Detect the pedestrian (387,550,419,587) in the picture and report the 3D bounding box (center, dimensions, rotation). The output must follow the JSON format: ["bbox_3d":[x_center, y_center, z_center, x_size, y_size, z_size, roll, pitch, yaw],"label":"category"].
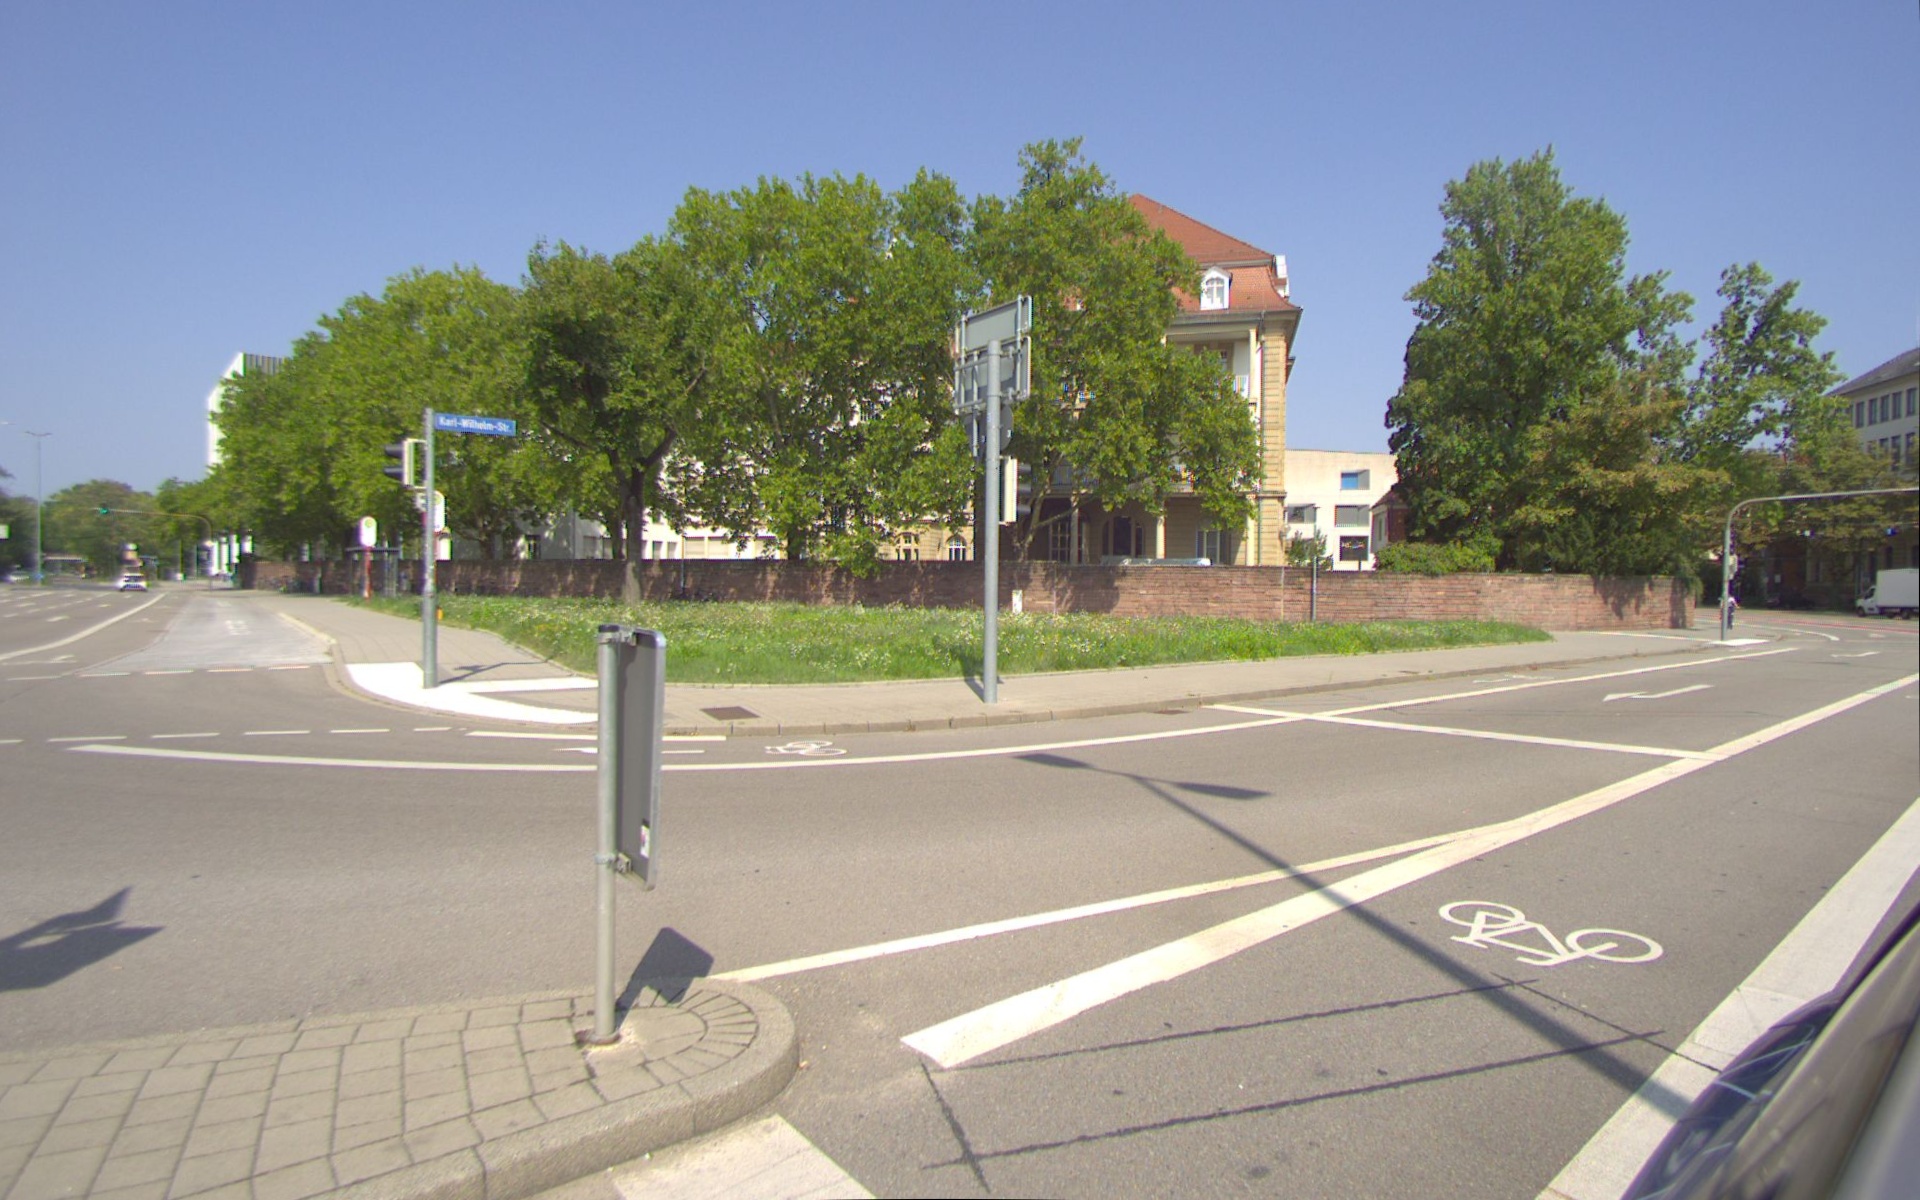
[{"bbox_3d":[-30.517,-1.726,55.411,1.225,2.039,1.061,2,1,31],"label":"pedestrian"}]

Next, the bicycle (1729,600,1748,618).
[{"bbox_3d":[37.097,0.405,48.221,1.461,0.822,0.436,-1,2,-43],"label":"bicycle"}]

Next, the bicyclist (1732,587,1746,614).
[{"bbox_3d":[37.114,0.028,48.227,0.531,1.248,0.432,0,1,-43],"label":"bicyclist"}]

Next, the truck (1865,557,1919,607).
[{"bbox_3d":[63.568,-1.228,68.195,2.393,3.329,3.415,1,1,13],"label":"truck"}]

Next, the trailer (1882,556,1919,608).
[{"bbox_3d":[63.010,-1.147,65.630,2.405,3.328,5.071,1,1,12],"label":"trailer"}]

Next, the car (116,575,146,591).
[{"bbox_3d":[-62.989,-1.331,76.956,1.561,1.151,3.263,0,2,-36],"label":"car"}]

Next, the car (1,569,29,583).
[{"bbox_3d":[-114.440,-2.916,122.576,1.963,1.699,3.999,-1,2,-36],"label":"car"}]
